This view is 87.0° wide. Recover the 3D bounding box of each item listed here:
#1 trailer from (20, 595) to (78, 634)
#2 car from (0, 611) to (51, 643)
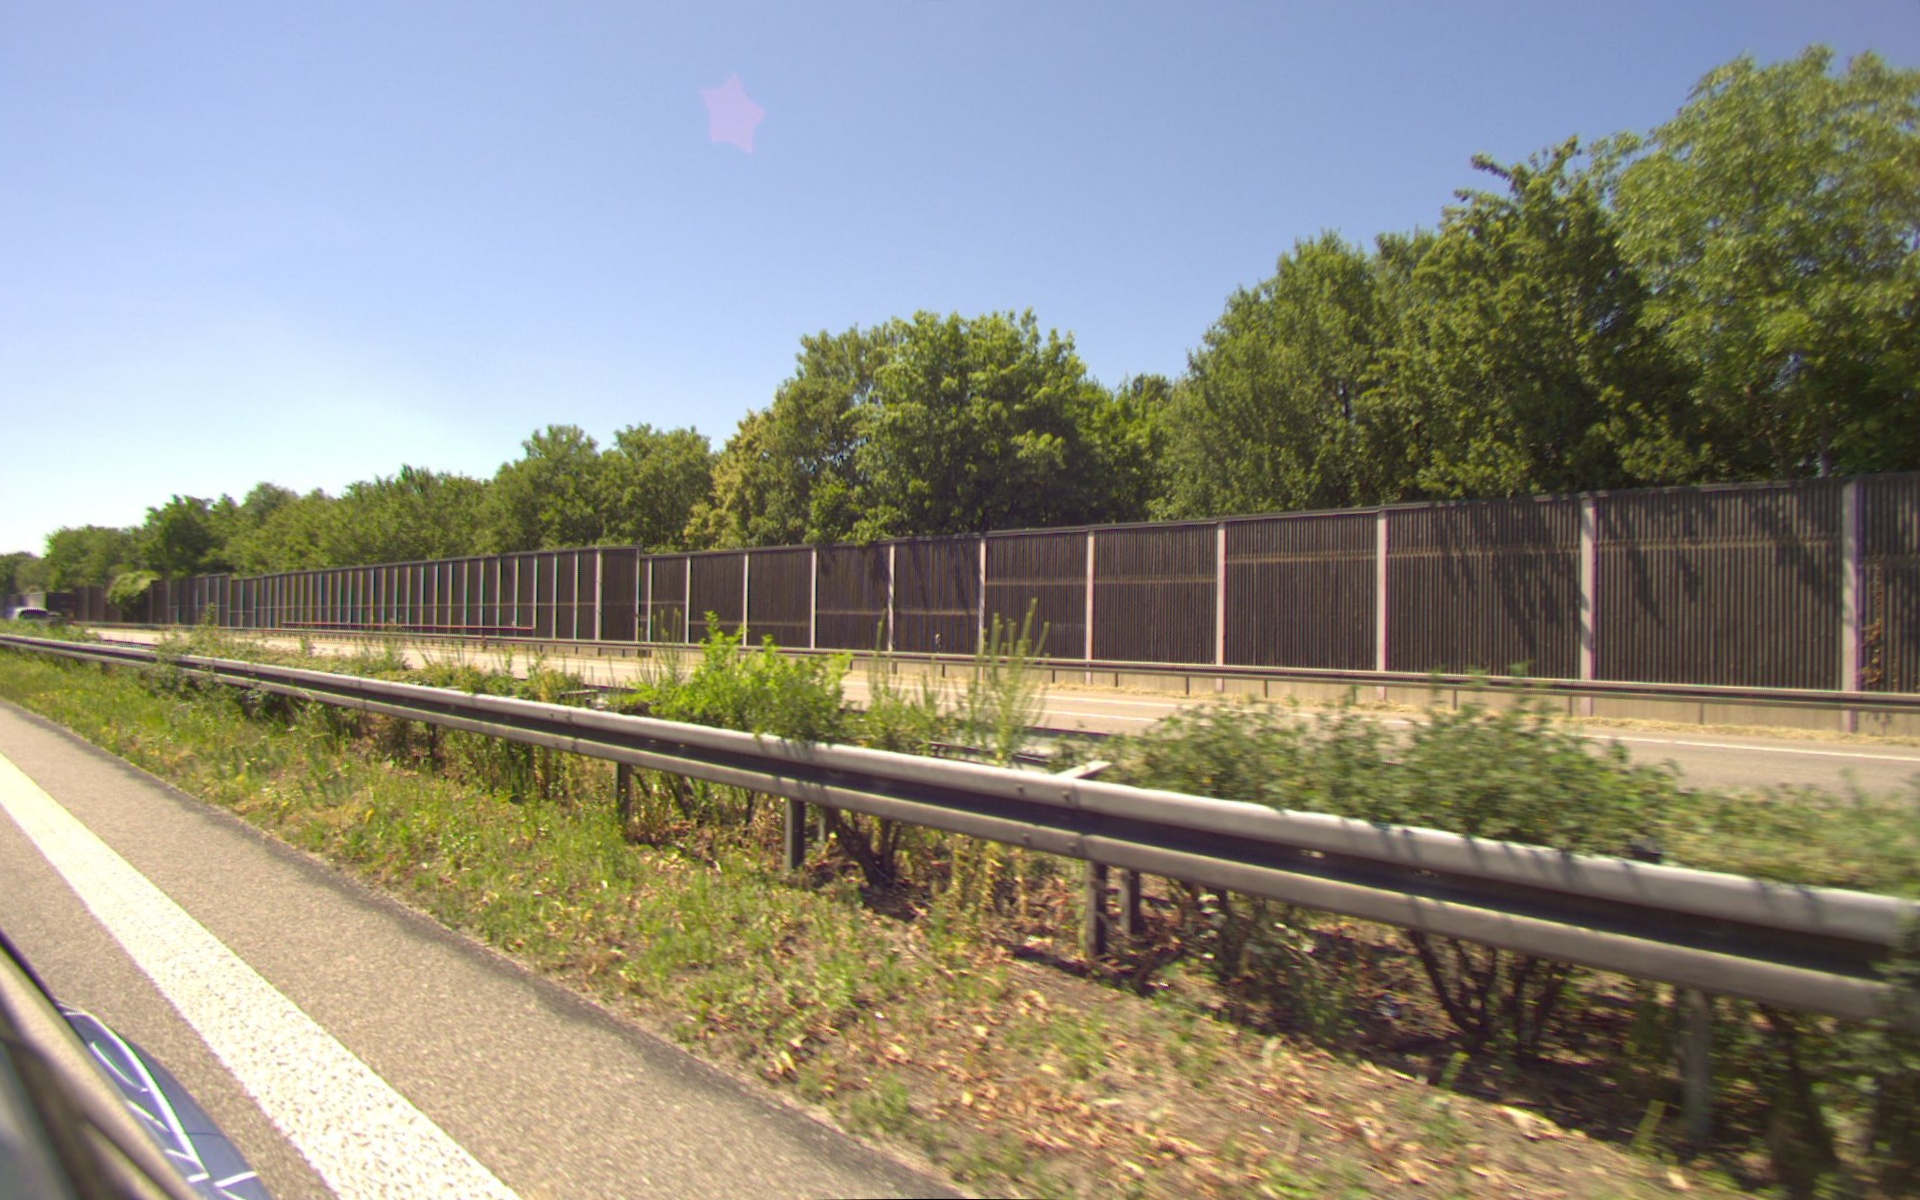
[{"bbox_3d":[-101.325,1.635,112.471,13.870,4.039,3.084,-1,-4,42],"label":"trailer"},{"bbox_3d":[-56.792,1.624,61.491,4.556,1.854,1.764,-1,-2,41],"label":"car"}]
